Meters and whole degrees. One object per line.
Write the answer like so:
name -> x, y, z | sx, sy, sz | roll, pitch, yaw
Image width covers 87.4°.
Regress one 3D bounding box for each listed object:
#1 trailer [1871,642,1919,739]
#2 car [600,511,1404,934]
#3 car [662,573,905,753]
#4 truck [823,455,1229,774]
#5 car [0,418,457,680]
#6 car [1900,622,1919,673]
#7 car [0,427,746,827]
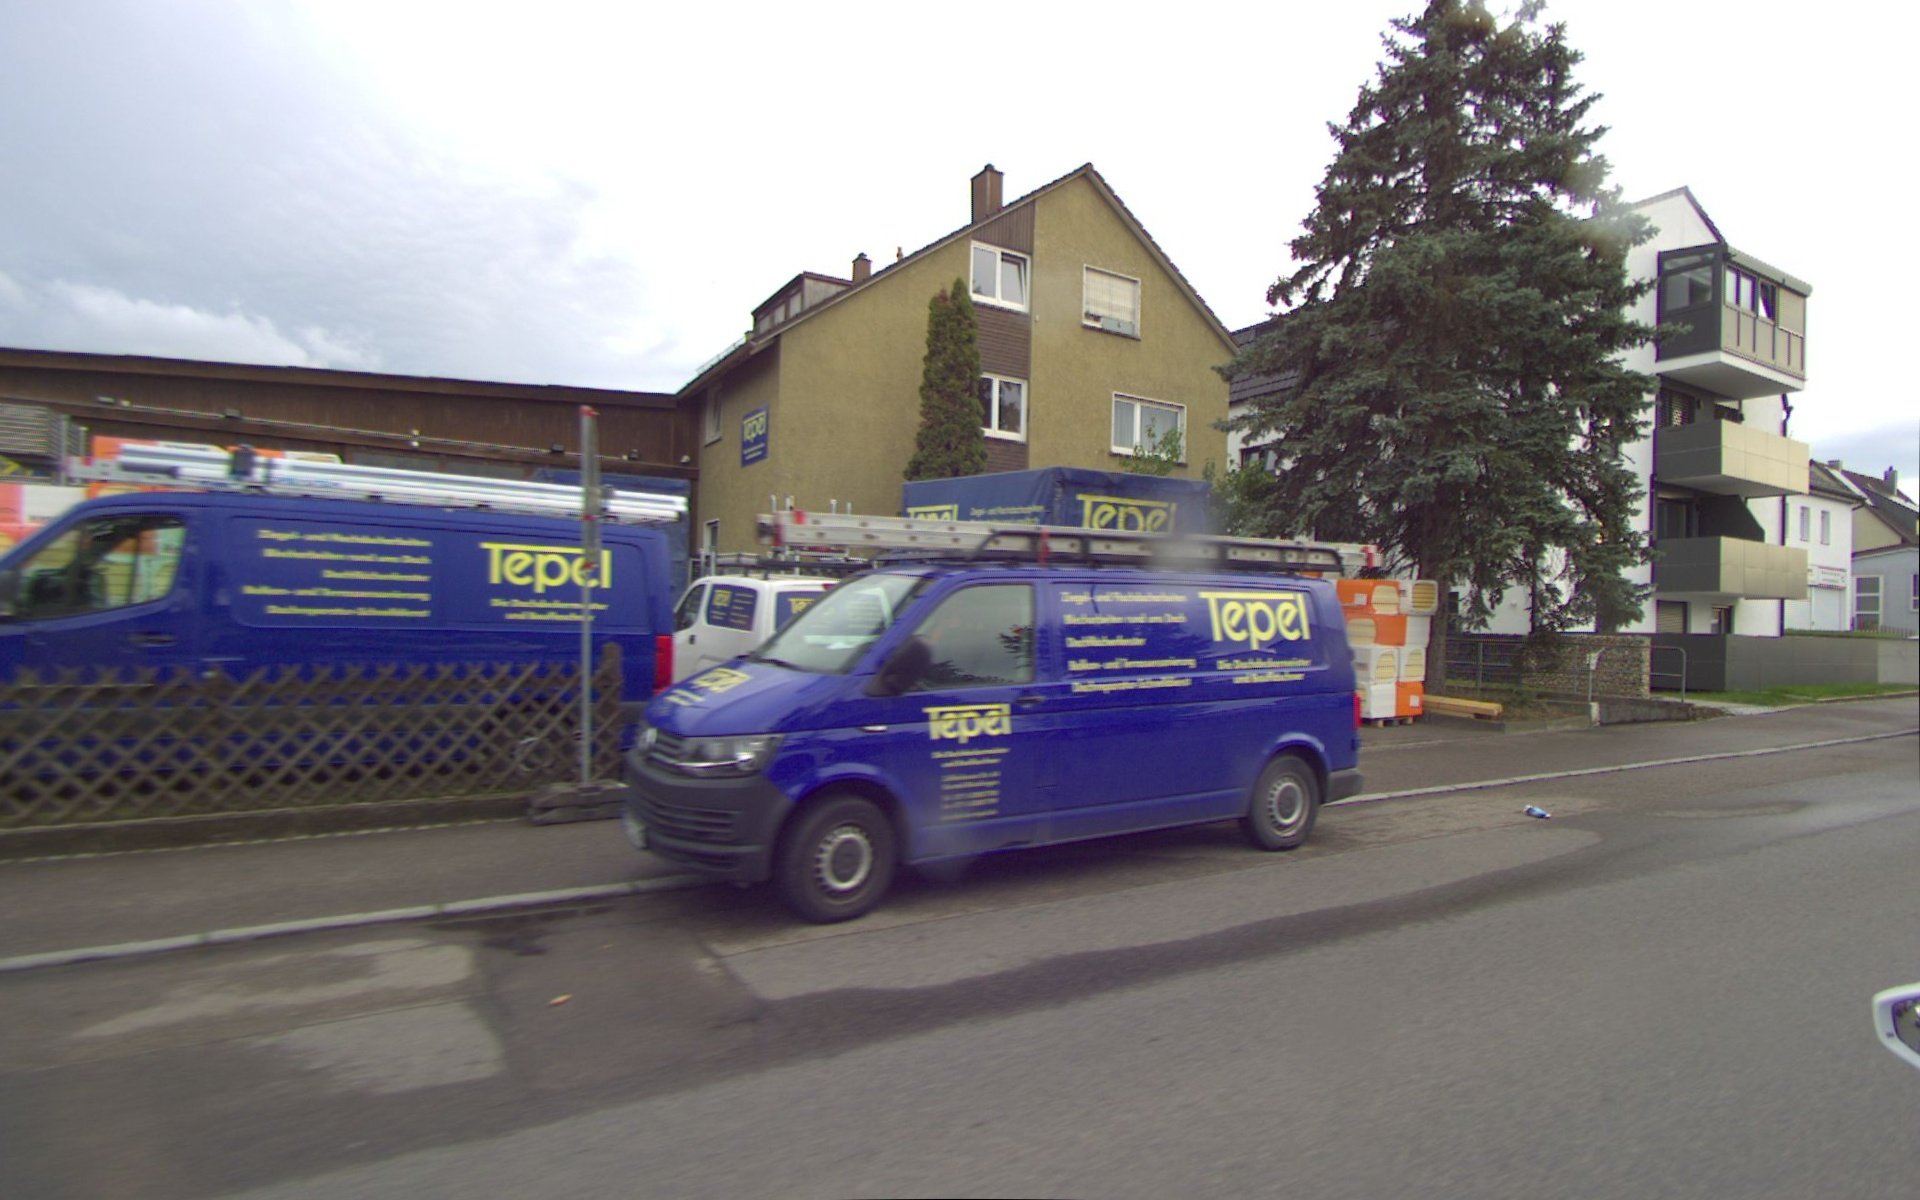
trailer -> 15.834, 1.303, 15.206 | 5.186, 1.277, 1.708 | -1, 1, -32
car -> 0.494, 0.634, 6.916 | 5.304, 1.973, 1.983 | 2, 0, -31
car -> -2.249, 0.621, 11.944 | 1.756, 1.773, 3.694 | 2, 0, -28
truck -> 0.451, 0.139, 13.002 | 2.420, 3.114, 5.886 | 2, 0, -29
car -> -9.814, -0.542, 13.653 | 5.181, 3.053, 2.066 | 2, 0, -30
car -> 31.052, 1.516, 30.213 | 1.636, 1.589, 3.740 | 2, 0, -31
car -> -5.102, 0.220, 8.384 | 6.128, 2.601, 2.066 | 2, 0, -30
